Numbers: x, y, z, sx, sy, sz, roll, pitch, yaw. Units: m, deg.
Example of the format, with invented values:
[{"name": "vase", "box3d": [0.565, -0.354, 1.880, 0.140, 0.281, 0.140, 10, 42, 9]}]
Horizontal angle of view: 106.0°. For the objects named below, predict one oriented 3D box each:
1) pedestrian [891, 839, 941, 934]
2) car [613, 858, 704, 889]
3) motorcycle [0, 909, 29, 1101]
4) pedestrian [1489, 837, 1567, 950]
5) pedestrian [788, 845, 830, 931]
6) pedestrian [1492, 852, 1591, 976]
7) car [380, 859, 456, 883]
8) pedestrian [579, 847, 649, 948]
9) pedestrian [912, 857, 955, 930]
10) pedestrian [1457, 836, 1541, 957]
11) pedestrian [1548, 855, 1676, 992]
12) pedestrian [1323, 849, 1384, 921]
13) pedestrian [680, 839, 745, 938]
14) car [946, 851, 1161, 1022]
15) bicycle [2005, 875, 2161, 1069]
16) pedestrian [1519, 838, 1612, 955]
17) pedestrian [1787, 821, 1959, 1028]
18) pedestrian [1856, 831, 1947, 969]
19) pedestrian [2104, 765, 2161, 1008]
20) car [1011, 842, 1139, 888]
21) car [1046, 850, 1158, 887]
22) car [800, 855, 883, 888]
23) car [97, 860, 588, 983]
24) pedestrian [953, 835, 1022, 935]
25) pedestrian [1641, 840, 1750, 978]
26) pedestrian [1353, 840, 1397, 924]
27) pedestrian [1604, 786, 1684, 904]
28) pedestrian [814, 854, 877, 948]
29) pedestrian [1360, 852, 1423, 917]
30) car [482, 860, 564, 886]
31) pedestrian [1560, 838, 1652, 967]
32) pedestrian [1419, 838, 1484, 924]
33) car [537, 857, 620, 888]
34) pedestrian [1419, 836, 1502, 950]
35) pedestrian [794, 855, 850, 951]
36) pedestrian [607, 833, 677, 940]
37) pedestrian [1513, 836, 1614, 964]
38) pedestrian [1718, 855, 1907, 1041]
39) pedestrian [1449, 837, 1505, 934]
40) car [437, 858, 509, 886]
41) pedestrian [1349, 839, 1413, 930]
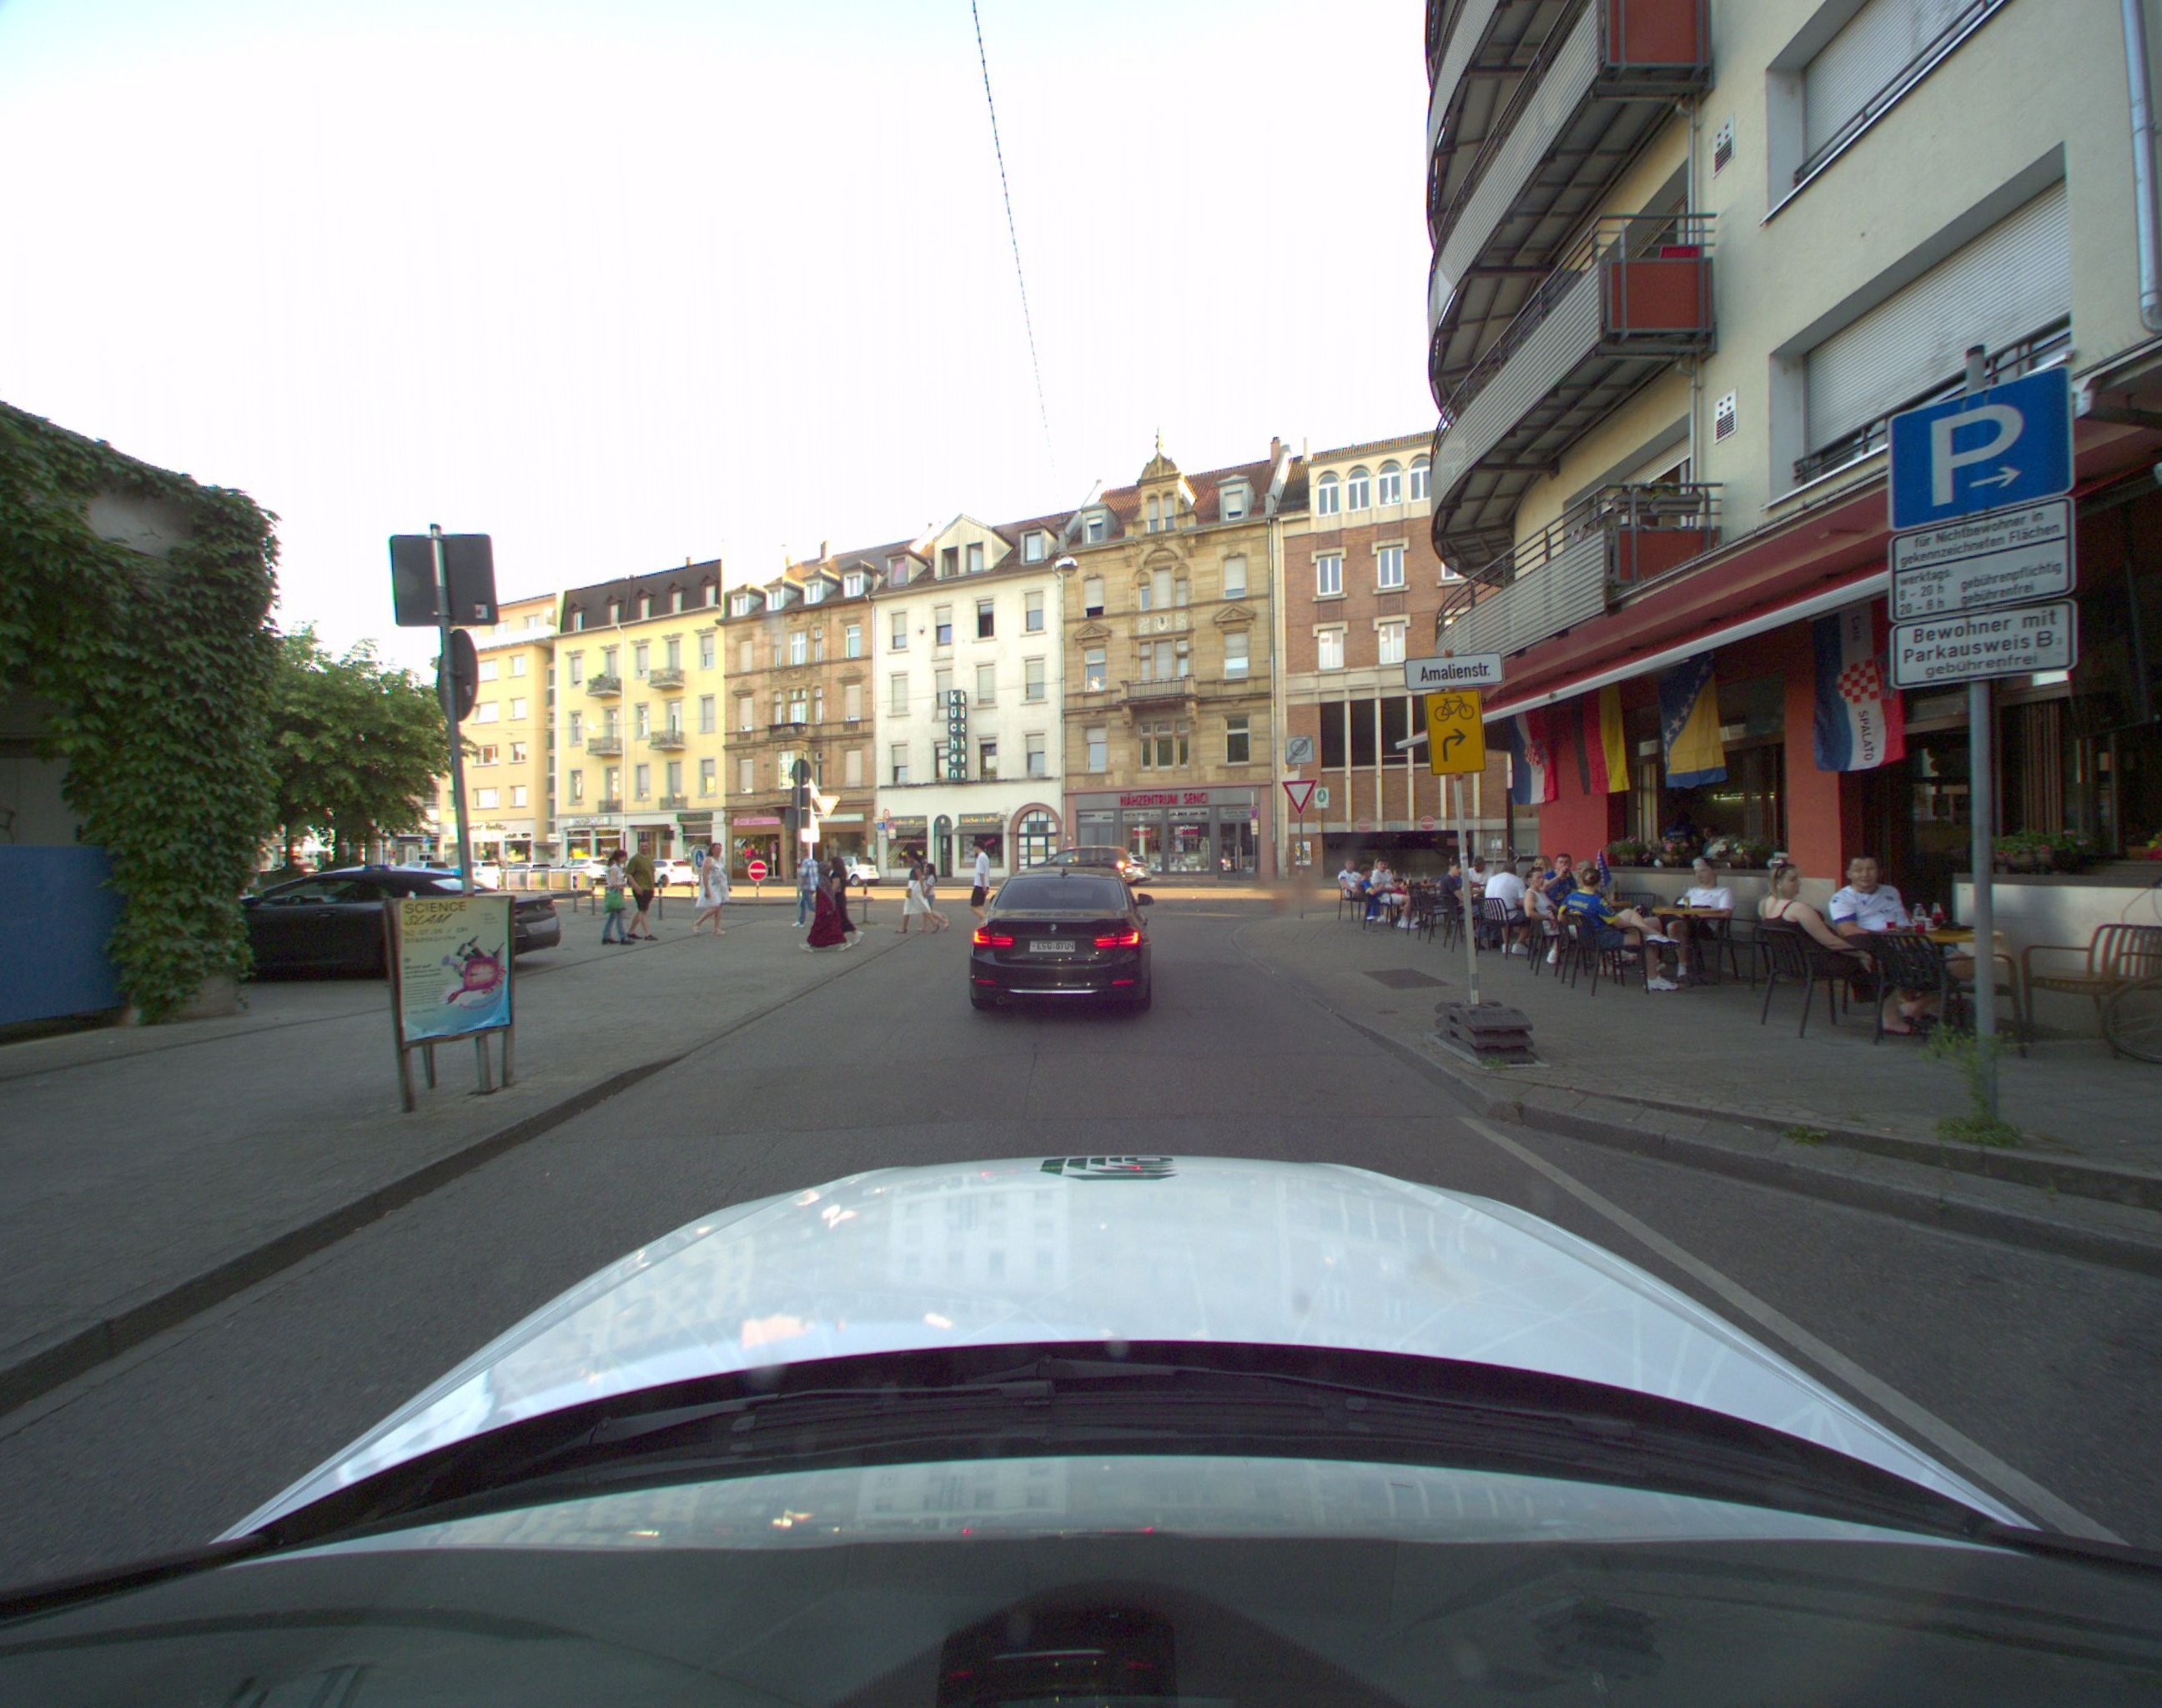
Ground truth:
[{"name": "pedestrian", "box3d": [-3.350, 0.643, 16.521, 0.783, 1.875, 0.708, 1, 0, -30]}, {"name": "car", "box3d": [-22.090, 0.993, 42.591, 4.187, 1.518, 1.824, 1, 0, 19]}, {"name": "motorcycle", "box3d": [-7.222, 0.903, 4.375, 1.835, 1.126, 0.531, 1, 0, -32]}, {"name": "pedestrian", "box3d": [6.382, 0.543, 11.659, 0.672, 1.536, 0.654, -3, 0, -3]}, {"name": "pedestrian", "box3d": [-5.692, 0.689, 17.020, 0.689, 1.746, 0.709, 1, 0, -30]}, {"name": "pedestrian", "box3d": [5.306, 0.664, 9.423, 0.652, 1.345, 0.748, -3, 0, -3]}, {"name": "car", "box3d": [-46.093, 1.174, 56.590, 4.746, 1.613, 2.011, -1, -1, 22]}, {"name": "pedestrian", "box3d": [-8.042, 0.722, 14.029, 0.871, 1.669, 0.719, 1, 0, 36]}, {"name": "pedestrian", "box3d": [-3.103, 0.811, 17.169, 0.718, 1.486, 0.598, 1, 0, -30]}, {"name": "pedestrian", "box3d": [5.614, 0.551, 10.971, 0.647, 1.527, 0.699, -4, 0, -5]}, {"name": "pedestrian", "box3d": [5.372, 0.675, 8.312, 0.868, 1.306, 0.857, -2, -1, 19]}, {"name": "pedestrian", "box3d": [5.505, 0.614, 16.468, 0.772, 1.382, 0.832, -1, -1, -26]}, {"name": "pedestrian", "box3d": [-6.991, 0.628, 15.456, 0.705, 1.803, 0.888, 0, 0, 43]}, {"name": "car", "box3d": [-0.184, 0.757, 9.277, 1.881, 1.492, 4.206, 0, -1, 2]}, {"name": "bicycle", "box3d": [6.467, 0.688, 4.453, 0.547, 1.087, 2.005, 1, 0, 0]}, {"name": "pedestrian", "box3d": [6.499, 0.546, 10.965, 0.765, 1.504, 0.782, -1, 0, -3]}, {"name": "pedestrian", "box3d": [6.341, 0.525, 6.537, 0.854, 1.536, 0.709, 1, 0, -23]}, {"name": "pedestrian", "box3d": [10.951, 0.591, 10.881, 0.610, 1.777, 0.616, 0, 0, -9]}, {"name": "pedestrian", "box3d": [8.040, 0.230, 5.848, 0.608, 1.739, 0.617, 0, 0, -2]}, {"name": "car", "box3d": [-0.209, 0.385, 31.903, 4.565, 1.652, 2.108, 1, 1, 18]}, {"name": "car", "box3d": [0.958, 0.635, 36.755, 4.626, 1.535, 2.011, 1, 0, 22]}, {"name": "car", "box3d": [-12.466, 0.896, 42.340, 3.951, 1.585, 1.715, 1, 0, 23]}, {"name": "car", "box3d": [-9.531, 0.836, 10.949, 4.431, 1.430, 2.102, 1, 0, -7]}, {"name": "pedestrian", "box3d": [-1.807, 0.578, 15.788, 0.878, 1.853, 0.991, 0, 0, 39]}, {"name": "pedestrian", "box3d": [6.563, 0.574, 8.721, 0.710, 1.421, 0.602, 1, 0, -2]}, {"name": "pedestrian", "box3d": [5.527, 0.517, 15.348, 0.707, 1.536, 0.692, -1, -1, 16]}, {"name": "pedestrian", "box3d": [9.932, -0.154, 14.410, 0.902, 2.013, 0.858, -1, 0, 13]}, {"name": "pedestrian", "box3d": [-4.122, 0.795, 14.234, 0.803, 1.582, 0.722, 1, 0, -42]}, {"name": "pedestrian", "box3d": [6.300, 0.619, 16.565, 0.687, 1.282, 0.960, 0, -2, -26]}, {"name": "car", "box3d": [-35.459, 1.188, 51.772, 4.810, 1.543, 2.033, 1, 0, 24]}, {"name": "pedestrian", "box3d": [6.131, 0.549, 9.532, 0.664, 1.434, 0.560, -2, 0, -3]}, {"name": "pedestrian", "box3d": [6.884, 0.478, 15.126, 0.717, 1.536, 0.844, 1, 0, -35]}, {"name": "car", "box3d": [-30.353, 1.102, 49.206, 4.603, 1.745, 1.898, 1, 0, 23]}, {"name": "pedestrian", "box3d": [5.448, 0.547, 11.737, 0.711, 1.536, 0.758, -4, 0, -5]}, {"name": "pedestrian", "box3d": [-4.289, 0.785, 13.473, 0.683, 1.542, 0.585, 1, 0, -42]}, {"name": "pedestrian", "box3d": [-7.989, 0.574, 14.835, 0.705, 1.876, 0.857, 1, 0, 29]}, {"name": "pedestrian", "box3d": [6.012, 0.558, 10.184, 0.848, 1.536, 0.679, 1, 0, -4]}, {"name": "pedestrian", "box3d": [5.537, 0.673, 6.192, 0.854, 1.278, 0.709, -1, -3, -23]}, {"name": "pedestrian", "box3d": [6.480, 0.493, 13.311, 0.743, 1.536, 0.652, 1, 0, 32]}, {"name": "car", "box3d": [-40.429, 1.180, 54.156, 4.355, 1.762, 1.884, 1, 0, 23]}, {"name": "pedestrian", "box3d": [5.354, 0.533, 14.577, 0.710, 1.536, 0.853, -5, 0, 1]}]
